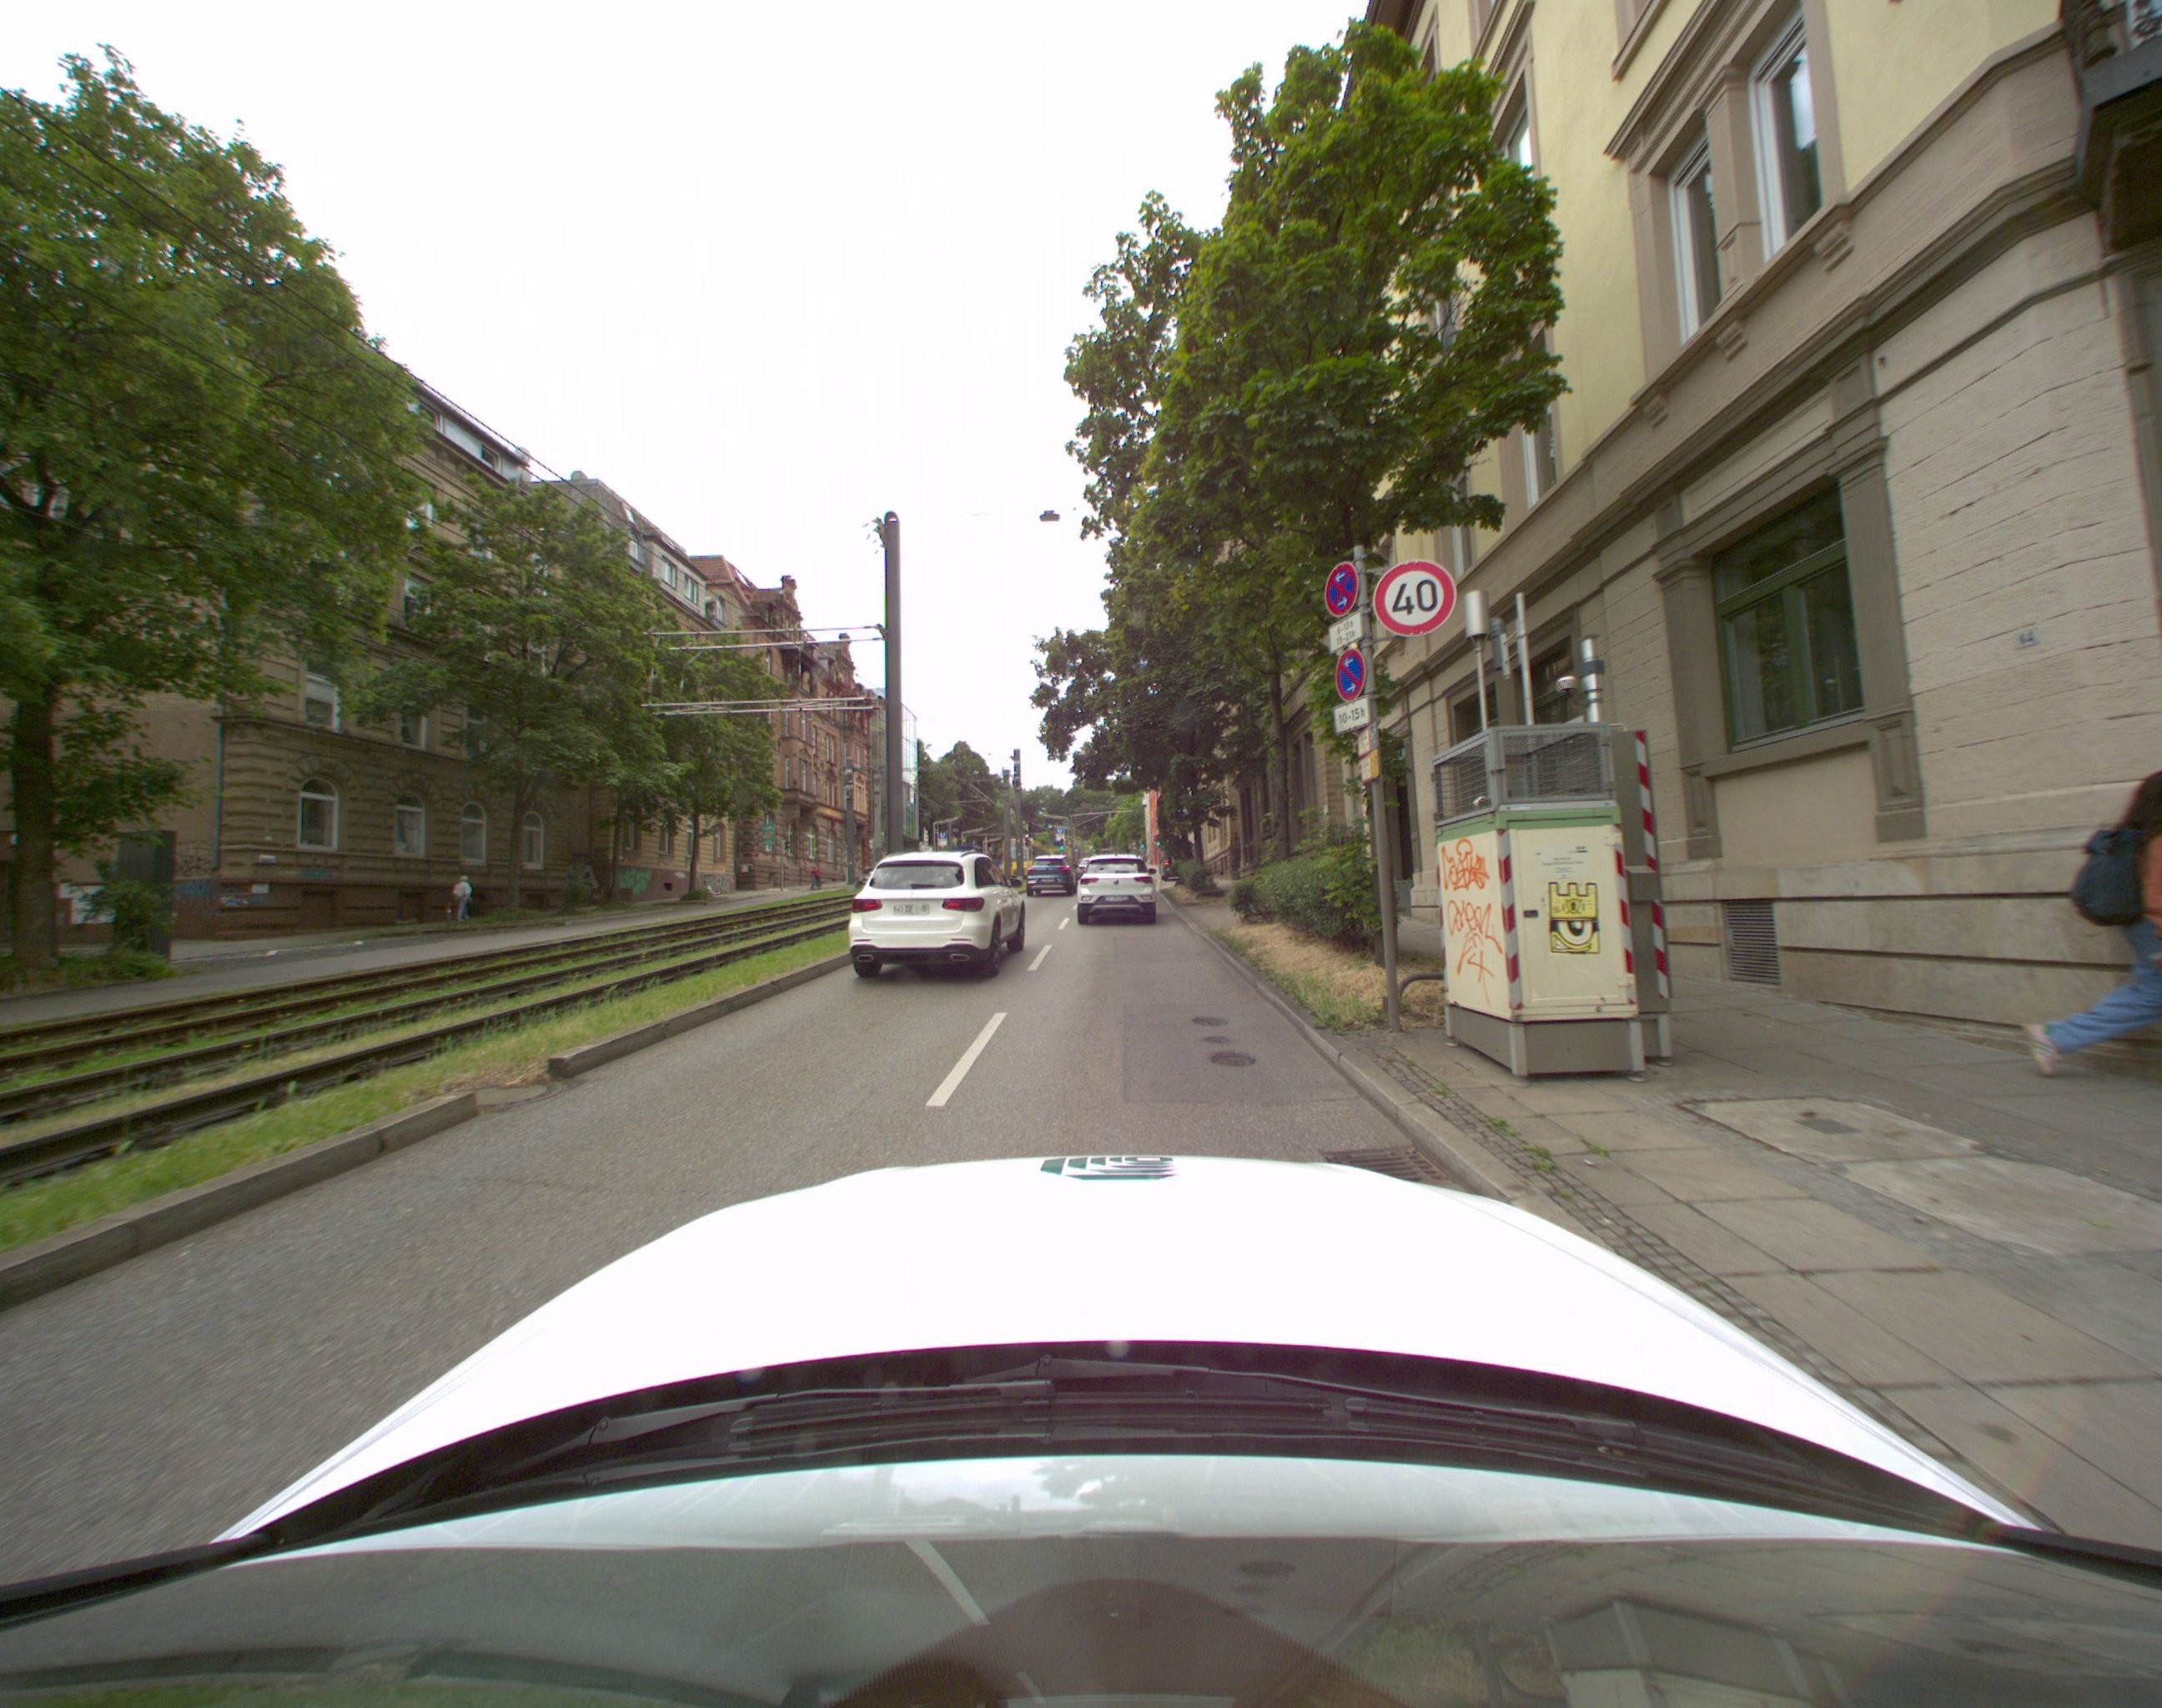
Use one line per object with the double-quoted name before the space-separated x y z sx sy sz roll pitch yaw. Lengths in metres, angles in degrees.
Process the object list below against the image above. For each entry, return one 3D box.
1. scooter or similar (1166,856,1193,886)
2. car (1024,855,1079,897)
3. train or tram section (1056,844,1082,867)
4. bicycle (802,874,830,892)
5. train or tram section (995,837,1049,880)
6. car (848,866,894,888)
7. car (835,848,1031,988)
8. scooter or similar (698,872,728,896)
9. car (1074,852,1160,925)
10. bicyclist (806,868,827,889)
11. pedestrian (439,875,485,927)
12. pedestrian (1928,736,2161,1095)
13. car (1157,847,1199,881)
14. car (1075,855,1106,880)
"scooter or similar" 3.966 0.685 32.752 1.031 1.119 0.332 -3 -1 8
"car" -1.094 0.836 32.504 1.828 1.546 4.196 -1 0 3
"train or tram section" -1.804 0.228 126.371 2.983 3.349 13.450 -2 0 3
"bicycle" -18.121 1.994 55.749 0.934 1.100 2.704 -2 0 2
"train or tram section" -5.106 0.394 73.223 2.983 3.349 13.450 -2 0 3
"car" -14.970 1.647 58.190 1.985 1.403 4.003 -2 0 3
"car" -1.928 0.782 12.106 1.828 1.667 4.674 -1 0 3
"scooter or similar" -20.699 1.660 45.876 0.627 1.255 2.215 -2 0 0
"car" 0.830 0.752 19.671 1.829 1.546 4.194 -1 0 1
"bicyclist" -18.118 1.667 55.794 0.934 1.425 1.188 -2 0 2
"pedestrian" -20.990 1.583 27.618 0.828 1.684 0.848 -3 0 0
"pedestrian" 5.205 0.276 4.102 0.714 1.662 1.116 -2 0 -29
"car" 5.109 0.523 43.382 1.828 1.601 4.196 -4 0 3
"car" 0.648 0.834 51.684 1.828 1.546 4.196 -1 0 3
